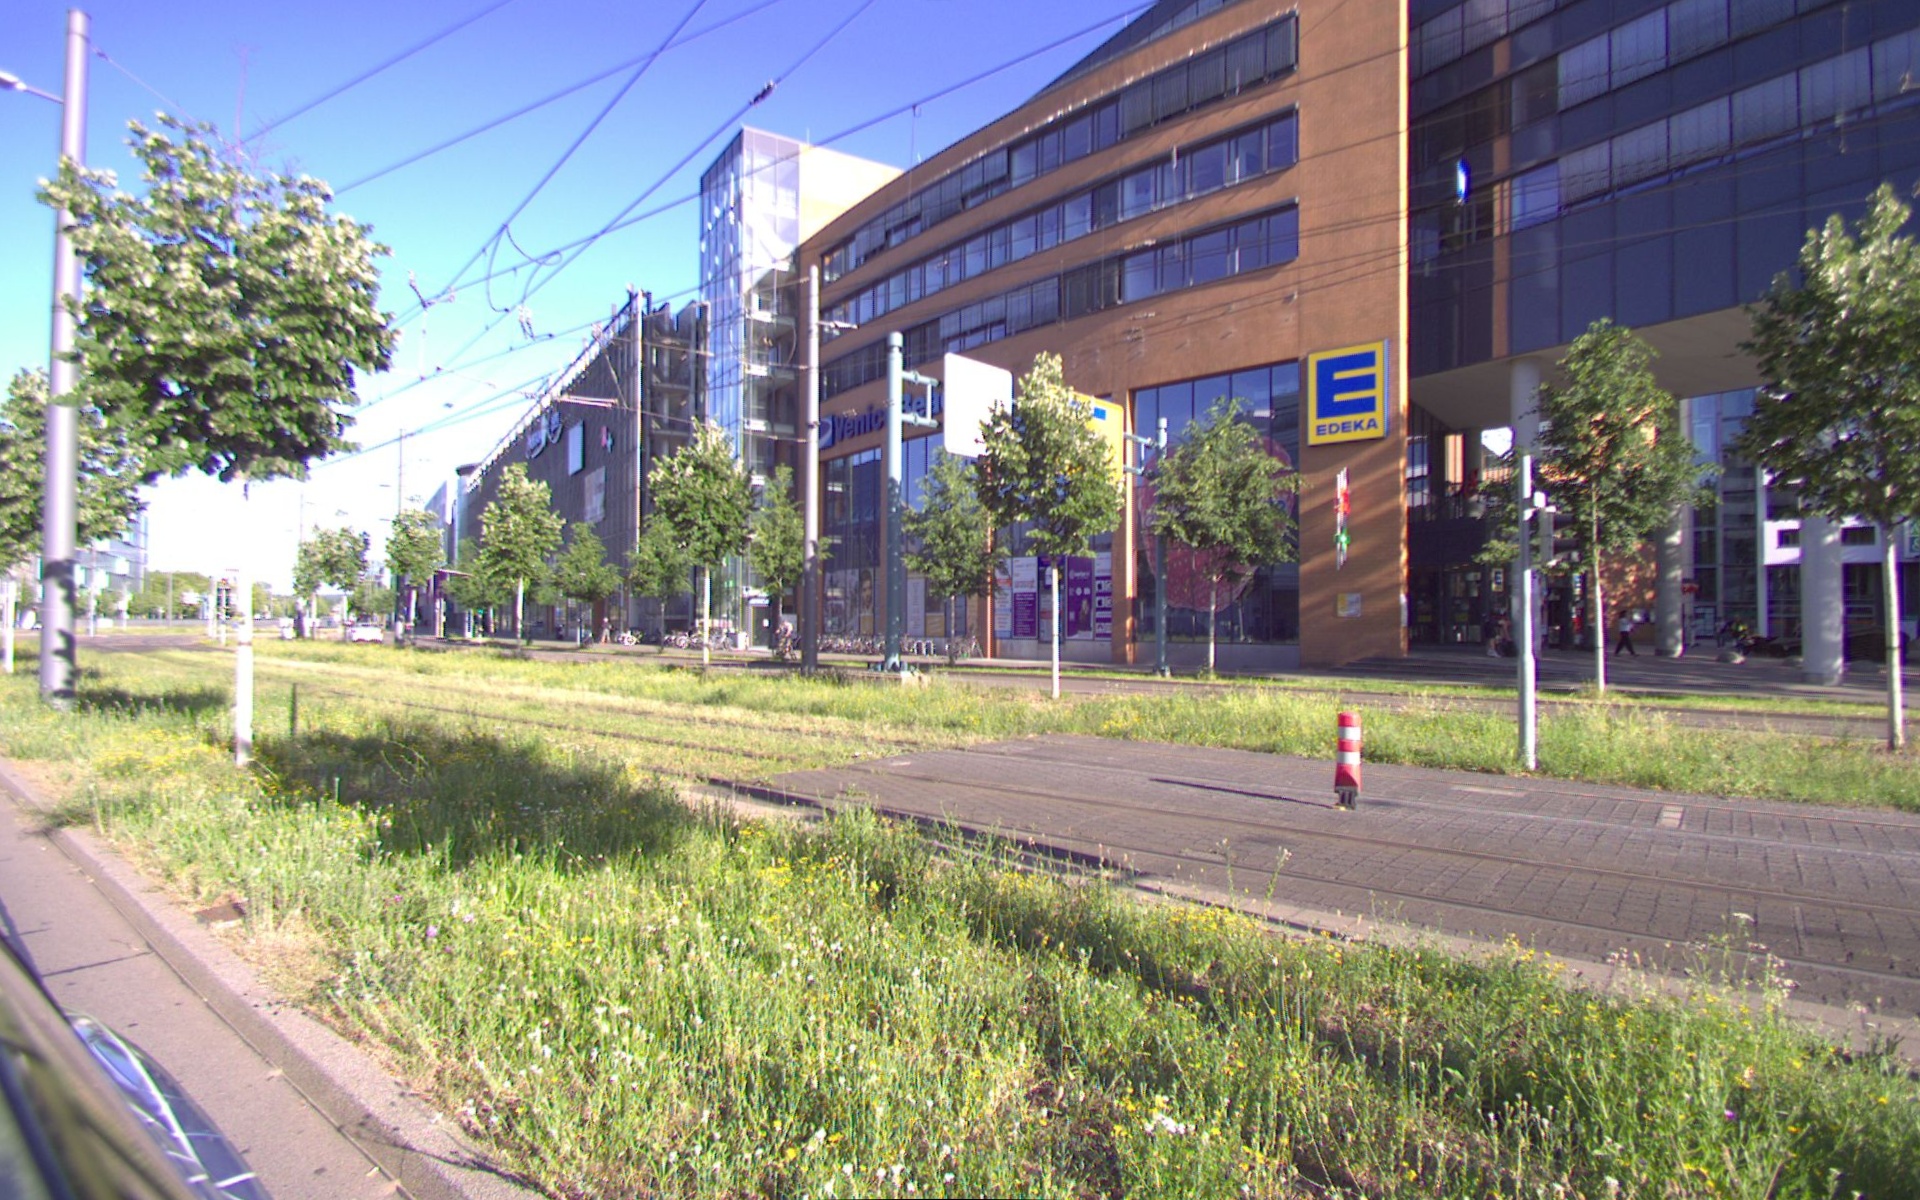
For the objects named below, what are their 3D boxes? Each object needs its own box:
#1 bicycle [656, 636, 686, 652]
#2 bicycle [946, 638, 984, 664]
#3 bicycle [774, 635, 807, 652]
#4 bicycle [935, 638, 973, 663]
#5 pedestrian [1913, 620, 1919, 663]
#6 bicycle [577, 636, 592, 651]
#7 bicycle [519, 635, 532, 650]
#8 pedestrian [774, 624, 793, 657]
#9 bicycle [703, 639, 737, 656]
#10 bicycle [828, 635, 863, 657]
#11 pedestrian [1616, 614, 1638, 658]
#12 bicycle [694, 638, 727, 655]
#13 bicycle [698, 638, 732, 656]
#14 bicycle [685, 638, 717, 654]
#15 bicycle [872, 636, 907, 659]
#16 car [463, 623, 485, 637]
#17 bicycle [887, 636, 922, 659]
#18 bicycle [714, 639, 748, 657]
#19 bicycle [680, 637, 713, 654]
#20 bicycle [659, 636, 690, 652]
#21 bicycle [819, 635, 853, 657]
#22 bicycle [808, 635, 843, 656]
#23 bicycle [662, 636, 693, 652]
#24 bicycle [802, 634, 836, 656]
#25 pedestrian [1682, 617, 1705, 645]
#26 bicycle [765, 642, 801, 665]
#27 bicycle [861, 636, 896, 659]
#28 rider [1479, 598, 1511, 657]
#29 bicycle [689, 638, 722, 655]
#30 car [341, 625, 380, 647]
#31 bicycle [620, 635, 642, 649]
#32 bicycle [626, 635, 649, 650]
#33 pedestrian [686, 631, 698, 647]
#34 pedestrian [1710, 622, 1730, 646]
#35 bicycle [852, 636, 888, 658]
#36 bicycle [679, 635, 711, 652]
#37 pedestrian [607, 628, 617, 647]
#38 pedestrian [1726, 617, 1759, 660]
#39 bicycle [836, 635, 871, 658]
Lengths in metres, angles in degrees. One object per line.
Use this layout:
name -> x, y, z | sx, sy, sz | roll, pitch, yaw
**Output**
bicycle -> -17.869, 2.708, 62.608 | 1.741, 0.933, 0.492 | 1, -2, -33
bicycle -> 0.213, 2.165, 43.317 | 1.744, 1.057, 0.491 | 1, -2, -42
bicycle -> -9.400, 2.395, 56.082 | 1.741, 0.933, 0.566 | 1, -2, -33
bicycle -> -0.244, 2.173, 43.781 | 1.744, 1.057, 0.491 | 1, -2, -42
pedestrian -> 39.287, 1.689, 40.793 | 0.778, 1.720, 1.113 | 0, 0, -32
bicycle -> -22.718, 2.645, 61.222 | 0.380, 0.875, 1.775 | 1, -2, -36
bicycle -> -27.406, 2.668, 63.844 | 0.380, 0.930, 1.775 | 1, -2, -36
pedestrian -> -9.135, 2.098, 52.383 | 0.736, 1.681, 0.676 | 1, -2, -43
bicycle -> -13.228, 2.610, 55.709 | 1.741, 0.933, 0.566 | 1, -2, -33
bicycle -> -5.657, 2.268, 50.039 | 1.744, 1.057, 0.491 | 1, -2, -42
pedestrian -> 22.884, 1.214, 34.722 | 0.572, 1.491, 0.447 | -1, -1, 41
bicycle -> -14.050, 2.626, 57.040 | 1.741, 0.933, 0.566 | 1, -2, -33
bicycle -> -13.631, 2.618, 56.393 | 1.741, 0.933, 0.566 | 1, -2, -33
bicycle -> -14.893, 2.642, 58.197 | 1.741, 0.933, 0.566 | 1, -2, -33
bicycle -> -3.303, 2.227, 47.466 | 1.744, 1.057, 0.491 | 1, -2, -42
car -> -56.864, 3.528, 118.425 | 1.559, 1.541, 3.759 | 0, 0, -37
bicycle -> -2.580, 2.217, 47.295 | 1.744, 1.057, 0.491 | 1, -2, -42
bicycle -> -12.429, 2.597, 54.990 | 1.741, 0.933, 0.566 | 1, -2, -33
bicycle -> -15.307, 2.650, 58.833 | 1.741, 0.933, 0.566 | 1, -2, -33
bicycle -> -17.530, 2.692, 62.118 | 1.741, 0.933, 0.492 | 1, -2, -33
bicycle -> -6.190, 2.277, 50.521 | 1.744, 1.057, 0.491 | 1, -2, -42
bicycle -> -6.813, 2.288, 51.328 | 1.744, 1.057, 0.491 | 1, -2, -42
bicycle -> -17.145, 2.684, 61.499 | 1.741, 0.933, 0.566 | 1, -2, -33
bicycle -> -7.201, 2.295, 51.732 | 1.744, 1.057, 0.491 | 1, -2, -42
pedestrian -> 39.782, 1.673, 54.906 | 1.038, 1.491, 0.660 | 0, 0, -32
bicycle -> -7.335, 2.212, 41.966 | 1.771, 0.875, 0.458 | -1, -2, 42
bicycle -> -3.857, 2.237, 47.994 | 1.744, 1.057, 0.491 | 1, -2, -42
rider -> 16.832, 0.867, 31.854 | 0.712, 1.816, 0.710 | -1, -2, 42
bicycle -> -14.481, 2.634, 57.600 | 1.741, 0.933, 0.566 | 1, -2, -33
car -> -39.578, 2.369, 66.793 | 1.782, 1.338, 4.415 | 2, -2, -36
bicycle -> -21.969, 2.798, 67.573 | 1.377, 0.933, 0.463 | 1, -2, -33
bicycle -> -21.126, 2.782, 66.366 | 1.377, 0.933, 0.463 | 1, -2, -33
pedestrian -> -17.918, 2.597, 67.617 | 0.619, 1.063, 0.450 | 1, -2, -36
pedestrian -> 41.034, 1.837, 54.669 | 0.627, 1.287, 0.664 | 0, 0, -32
bicycle -> -4.316, 2.245, 48.523 | 1.744, 1.057, 0.491 | 1, -2, -42
bicycle -> -15.559, 2.559, 59.434 | 1.741, 0.933, 0.492 | 1, -2, -33
pedestrian -> -23.999, 2.581, 69.787 | 0.442, 1.299, 0.631 | 1, -2, -36
pedestrian -> 32.177, 1.572, 41.611 | 0.778, 1.720, 0.810 | 0, 0, -32
bicycle -> -5.186, 2.260, 49.520 | 1.744, 1.057, 0.491 | 1, -2, -42
